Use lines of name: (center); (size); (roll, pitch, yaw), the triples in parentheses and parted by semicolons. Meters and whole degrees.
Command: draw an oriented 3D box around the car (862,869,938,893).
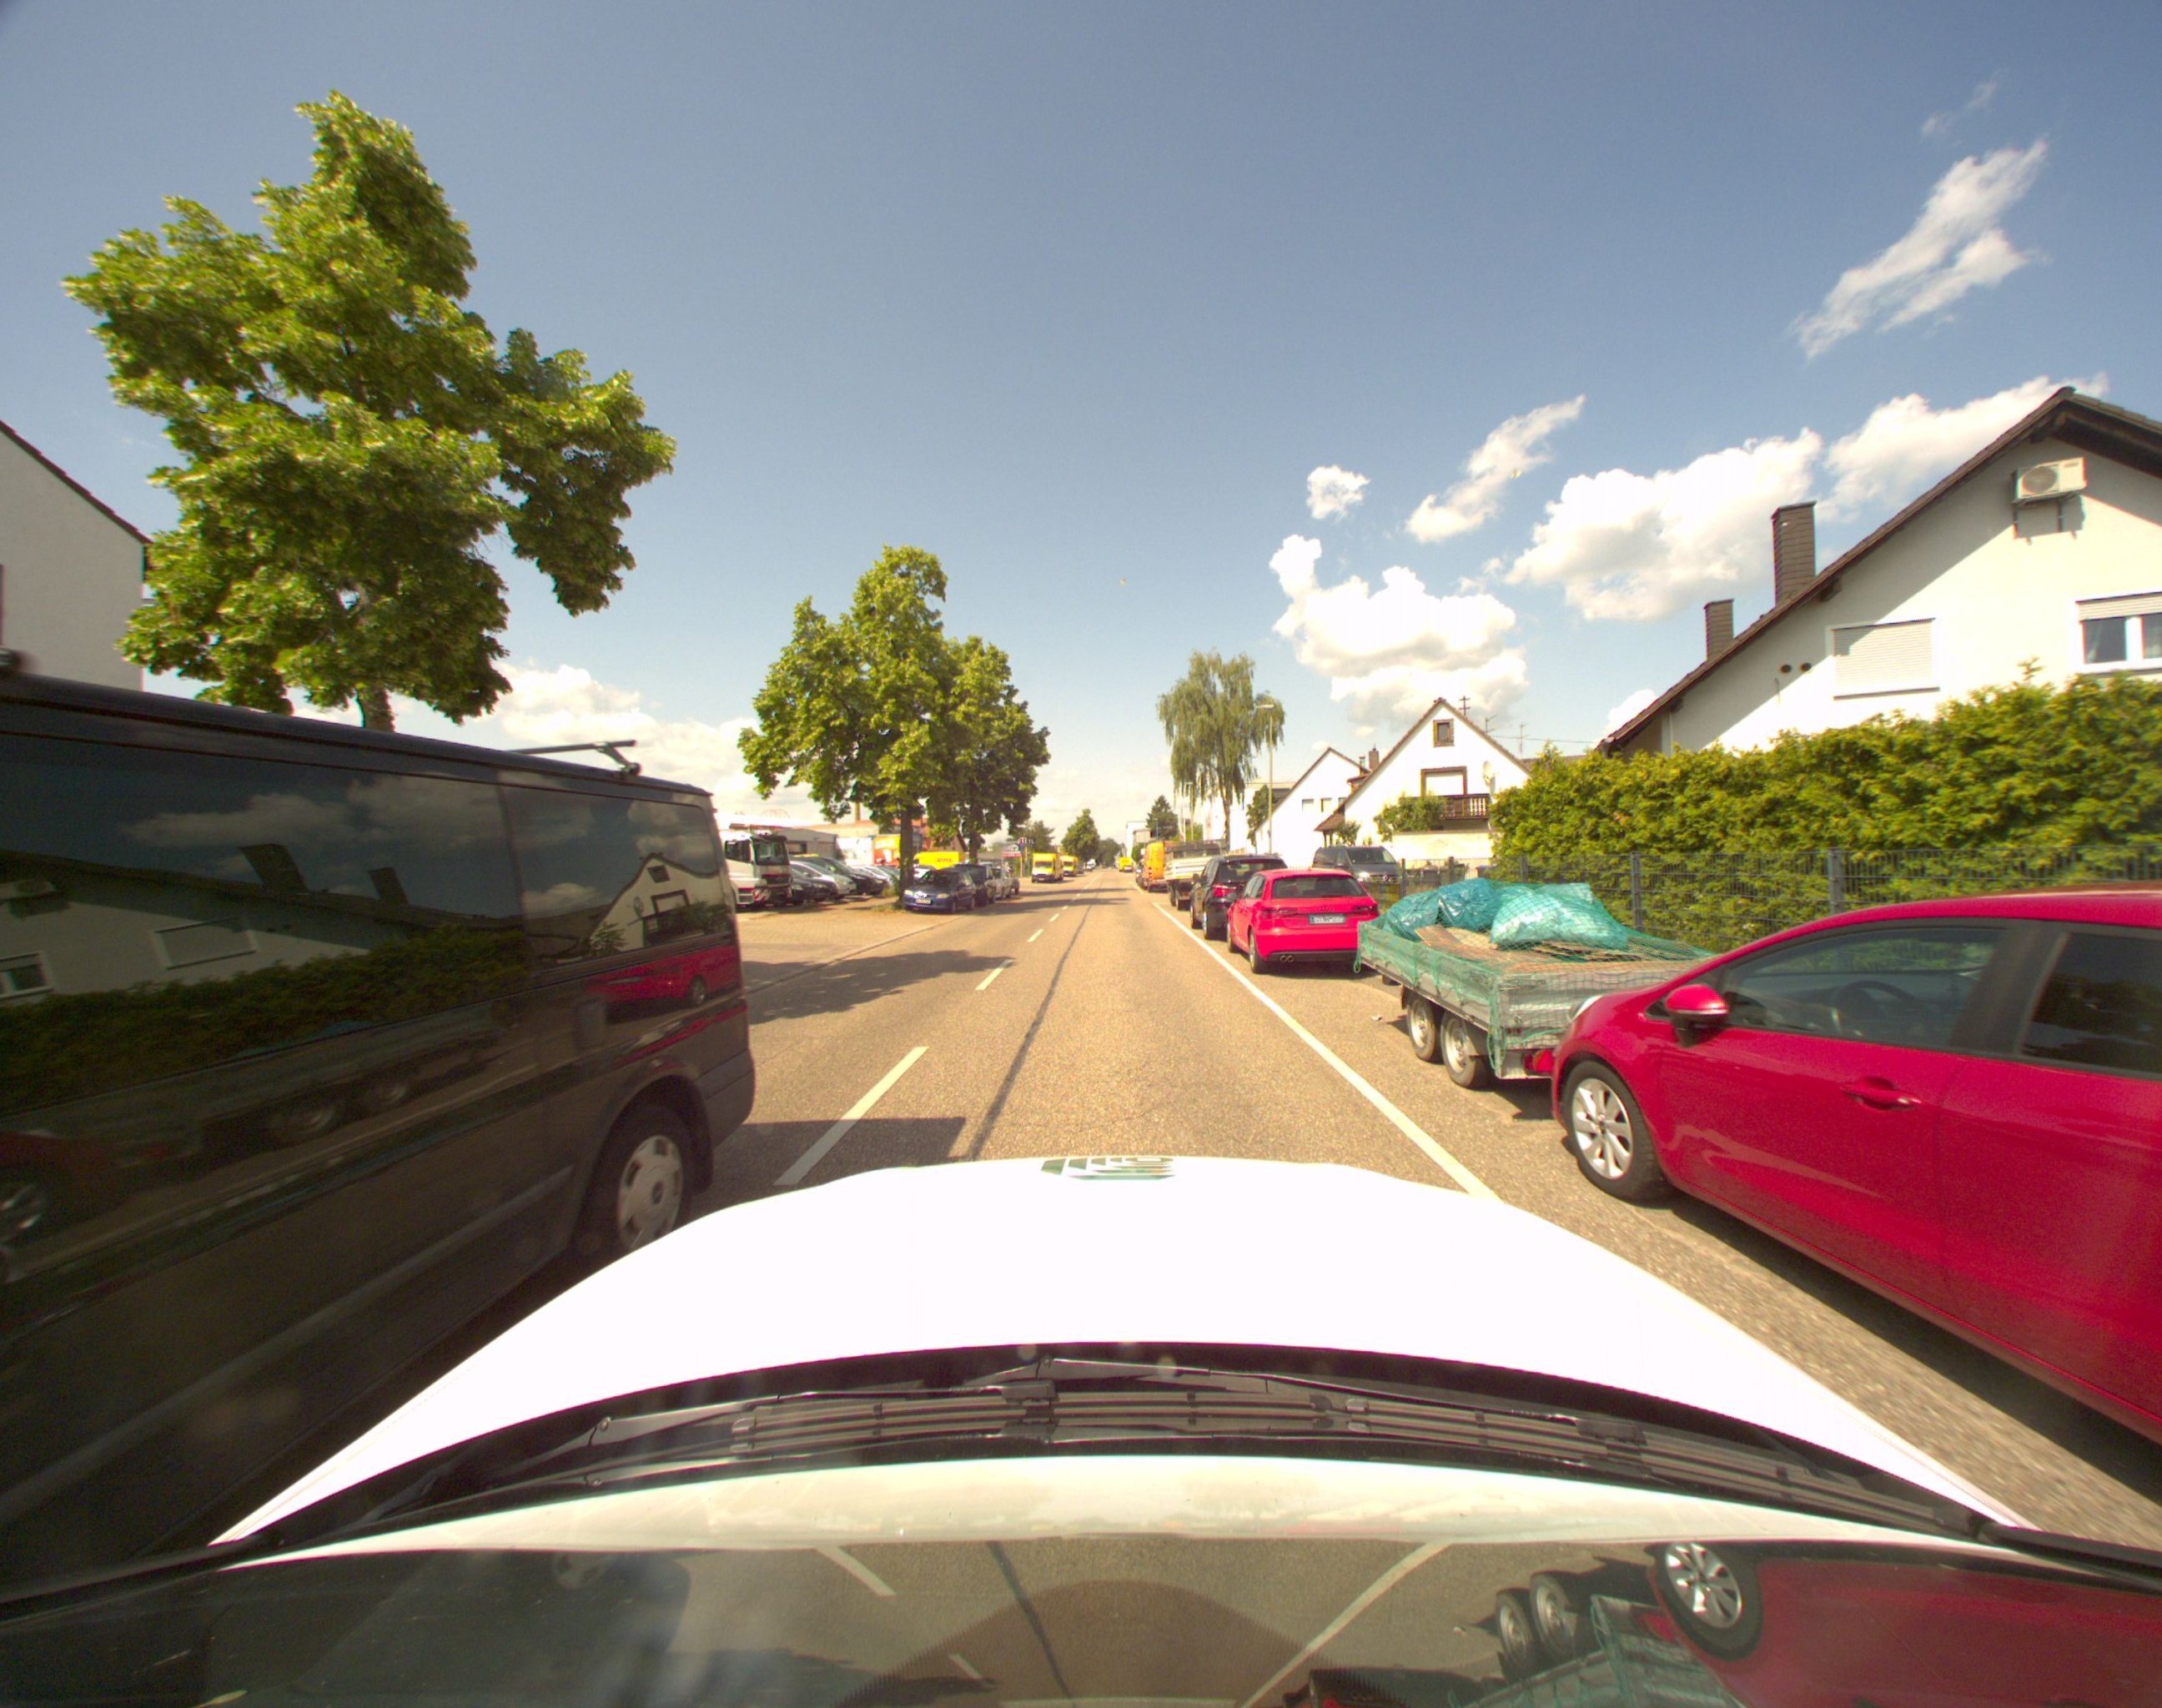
car: (-10.754, 1.582, 48.450); (4.005, 1.374, 1.830); (-1, -1, 6)

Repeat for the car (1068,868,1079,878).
car: (-1.270, 3.300, 138.992); (1.719, 1.604, 4.413); (2, -1, 0)

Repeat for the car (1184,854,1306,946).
car: (3.315, 0.879, 17.301); (1.822, 1.662, 4.556); (-1, -1, 2)

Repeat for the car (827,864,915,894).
car: (-11.171, 1.349, 43.547); (4.125, 1.490, 1.829); (-1, -2, 4)

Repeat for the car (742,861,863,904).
car: (-11.451, 1.165, 33.671); (4.279, 1.615, 1.827); (-1, 0, 1)

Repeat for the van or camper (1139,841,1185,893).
van or camper: (4.394, 0.694, 45.004); (1.987, 2.664, 5.768); (-1, -1, 0)

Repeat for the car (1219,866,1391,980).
car: (3.187, 0.909, 12.411); (1.678, 1.435, 4.149); (-1, -1, 3)

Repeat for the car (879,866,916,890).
car: (-13.231, 1.712, 58.815); (1.434, 1.656, 3.309); (-2, -1, 10)

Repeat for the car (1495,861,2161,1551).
car: (3.147, 0.755, 2.176); (1.686, 1.463, 4.755); (-1, -1, 0)

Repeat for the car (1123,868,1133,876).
car: (8.601, 3.292, 149.172); (1.645, 1.387, 4.425); (0, 0, 2)

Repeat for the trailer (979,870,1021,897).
trailer: (-4.306, 1.563, 43.839); (1.756, 1.289, 4.507); (2, -1, 0)

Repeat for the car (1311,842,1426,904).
car: (9.497, 0.615, 27.393); (1.852, 1.866, 5.015); (-1, -1, -3)

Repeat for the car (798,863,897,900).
car: (-11.142, 1.295, 38.955); (4.125, 1.619, 1.829); (-1, -2, 4)

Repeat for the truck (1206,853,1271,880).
truck: (15.701, 1.233, 81.150); (6.068, 2.577, 2.546); (-1, -1, -24)

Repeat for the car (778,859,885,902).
car: (-11.099, 1.165, 36.407); (4.125, 1.788, 1.829); (-1, -2, 4)

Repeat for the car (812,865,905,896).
car: (-11.246, 1.315, 41.243); (4.125, 1.431, 1.829); (-1, -2, 4)

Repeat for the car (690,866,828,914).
car: (-11.387, 1.258, 28.945); (4.178, 1.459, 1.680); (-2, 0, 4)

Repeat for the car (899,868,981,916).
car: (-4.830, 1.262, 28.444); (1.691, 1.483, 4.165); (1, 0, 6)

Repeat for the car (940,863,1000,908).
car: (-4.494, 1.249, 33.578); (1.687, 1.700, 4.401); (1, -1, 2)

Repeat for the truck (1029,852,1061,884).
truck: (-3.361, 1.319, 77.427); (2.211, 2.857, 7.075); (0, -1, 4)

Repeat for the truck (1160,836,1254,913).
truck: (4.135, 0.662, 27.861); (2.512, 2.299, 5.898); (-1, -1, 2)

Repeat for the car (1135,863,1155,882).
car: (5.371, 1.547, 68.560); (1.603, 1.581, 4.004); (0, -1, 4)

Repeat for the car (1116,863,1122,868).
car: (11.741, 3.622, 253.759); (1.921, 1.310, 4.002); (-1, -1, 2)

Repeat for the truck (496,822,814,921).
truck: (-13.885, 0.582, 26.877); (9.211, 2.856, 2.725); (-2, -1, 6)

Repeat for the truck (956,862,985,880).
truck: (-16.361, 2.475, 120.533); (2.095, 2.488, 5.744); (-1, -1, 15)

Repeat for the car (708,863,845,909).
car: (-11.609, 1.200, 31.246); (4.505, 1.582, 1.829); (-2, 0, 4)

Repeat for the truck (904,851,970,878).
truck: (-15.744, 1.114, 89.115); (6.550, 2.850, 2.538); (1, 0, 14)

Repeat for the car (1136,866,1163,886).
car: (4.894, 1.576, 58.581); (1.663, 1.335, 4.439); (-1, -1, 2)

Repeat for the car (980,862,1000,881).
car: (-8.940, 1.687, 79.808); (1.827, 1.705, 4.697); (-1, 1, -7)

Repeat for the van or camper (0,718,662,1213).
van or camper: (-5.861, 0.521, 6.005); (1.984, 2.317, 5.940); (2, -1, 4)

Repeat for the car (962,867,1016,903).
car: (-4.320, 1.435, 38.785); (1.825, 1.528, 4.241); (1, 0, 4)

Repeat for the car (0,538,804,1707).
car: (-2.635, 0.582, 1.817); (2.043, 2.034, 5.143); (-3, -1, 2)

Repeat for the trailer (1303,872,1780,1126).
trailer: (3.196, 0.871, 6.820); (1.602, 1.378, 4.434); (-1, -1, 2)

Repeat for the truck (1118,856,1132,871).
truck: (8.610, 1.860, 161.006); (2.466, 2.940, 7.188); (0, -1, 1)

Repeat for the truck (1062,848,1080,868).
truck: (-1.412, 0.646, 120.929); (2.307, 2.863, 7.107); (1, -1, 2)

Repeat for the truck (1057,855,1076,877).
truck: (-1.924, 1.693, 110.848); (2.261, 2.855, 7.175); (0, -1, 1)

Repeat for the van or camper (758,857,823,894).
van or camper: (-20.888, 1.465, 58.762); (1.981, 2.475, 5.376); (-1, 0, 10)
